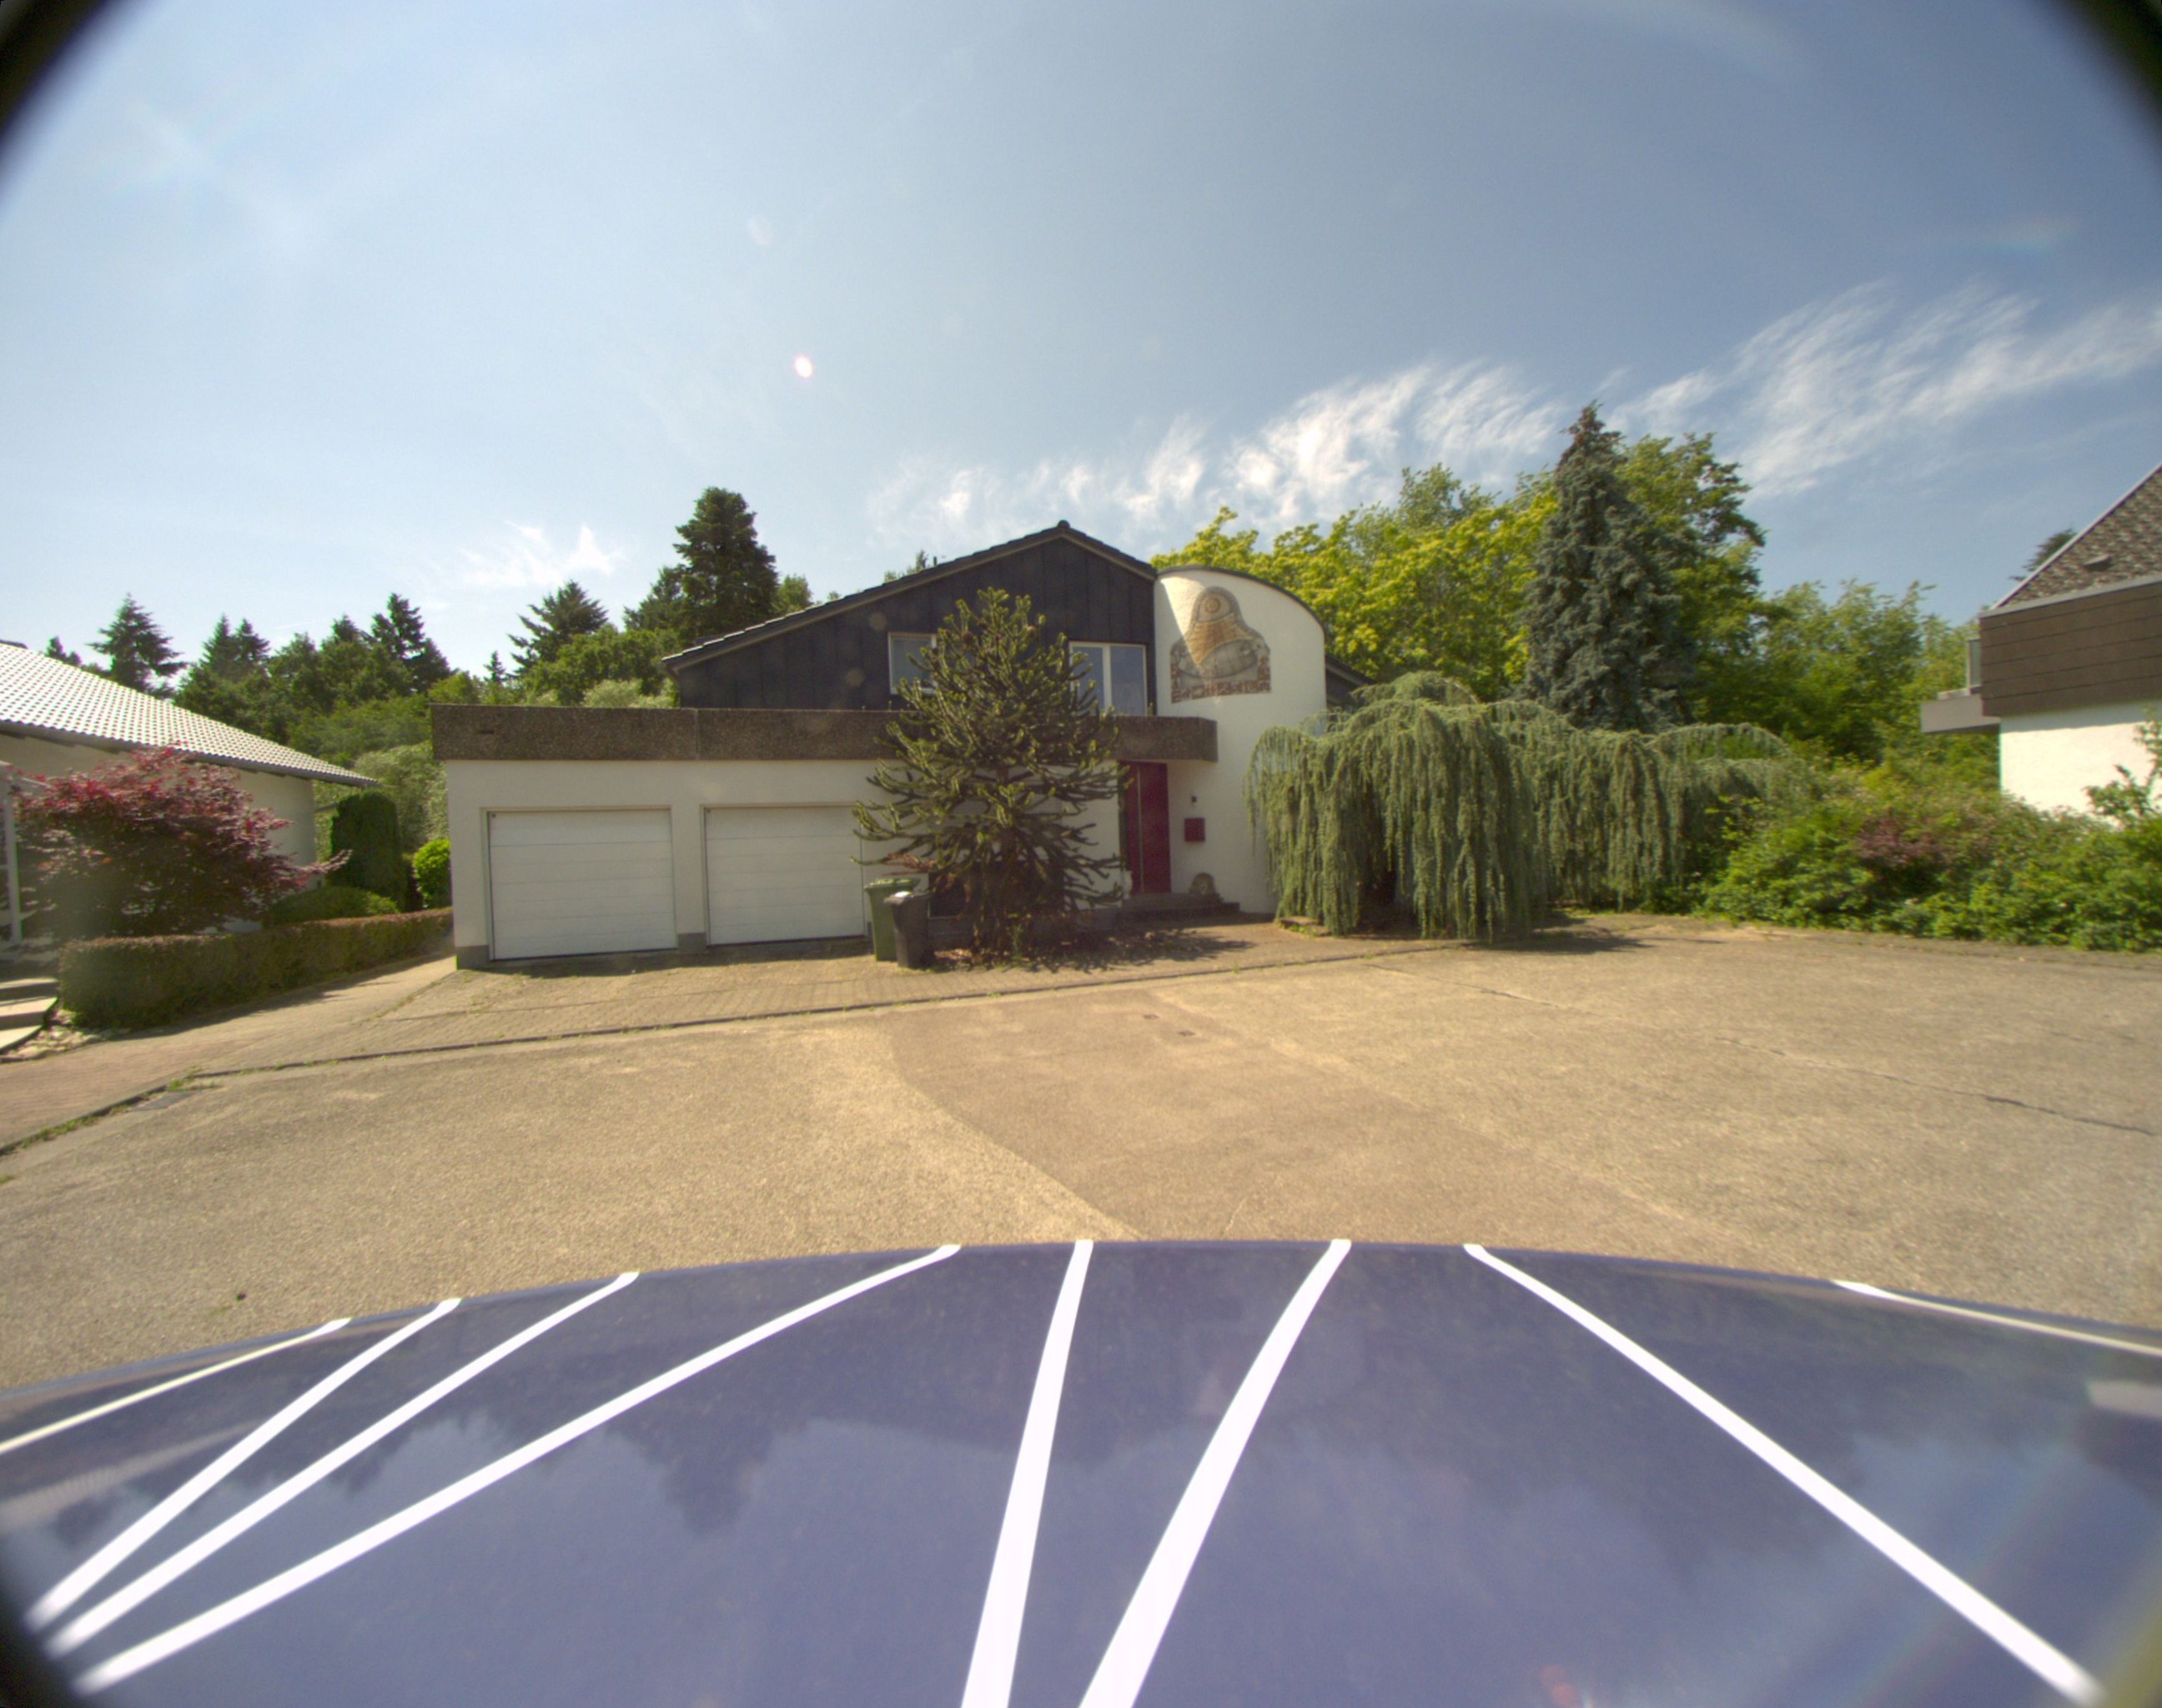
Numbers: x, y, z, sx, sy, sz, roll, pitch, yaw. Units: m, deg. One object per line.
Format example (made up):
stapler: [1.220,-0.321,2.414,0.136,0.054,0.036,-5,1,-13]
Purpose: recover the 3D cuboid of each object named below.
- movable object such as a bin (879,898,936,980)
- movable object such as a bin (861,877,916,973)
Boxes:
movable object such as a bin: [-2.171,1.045,9.517,0.525,0.944,0.388,-3,1,-44]
movable object such as a bin: [-2.579,0.931,10.155,0.634,1.196,0.550,-2,1,-17]
